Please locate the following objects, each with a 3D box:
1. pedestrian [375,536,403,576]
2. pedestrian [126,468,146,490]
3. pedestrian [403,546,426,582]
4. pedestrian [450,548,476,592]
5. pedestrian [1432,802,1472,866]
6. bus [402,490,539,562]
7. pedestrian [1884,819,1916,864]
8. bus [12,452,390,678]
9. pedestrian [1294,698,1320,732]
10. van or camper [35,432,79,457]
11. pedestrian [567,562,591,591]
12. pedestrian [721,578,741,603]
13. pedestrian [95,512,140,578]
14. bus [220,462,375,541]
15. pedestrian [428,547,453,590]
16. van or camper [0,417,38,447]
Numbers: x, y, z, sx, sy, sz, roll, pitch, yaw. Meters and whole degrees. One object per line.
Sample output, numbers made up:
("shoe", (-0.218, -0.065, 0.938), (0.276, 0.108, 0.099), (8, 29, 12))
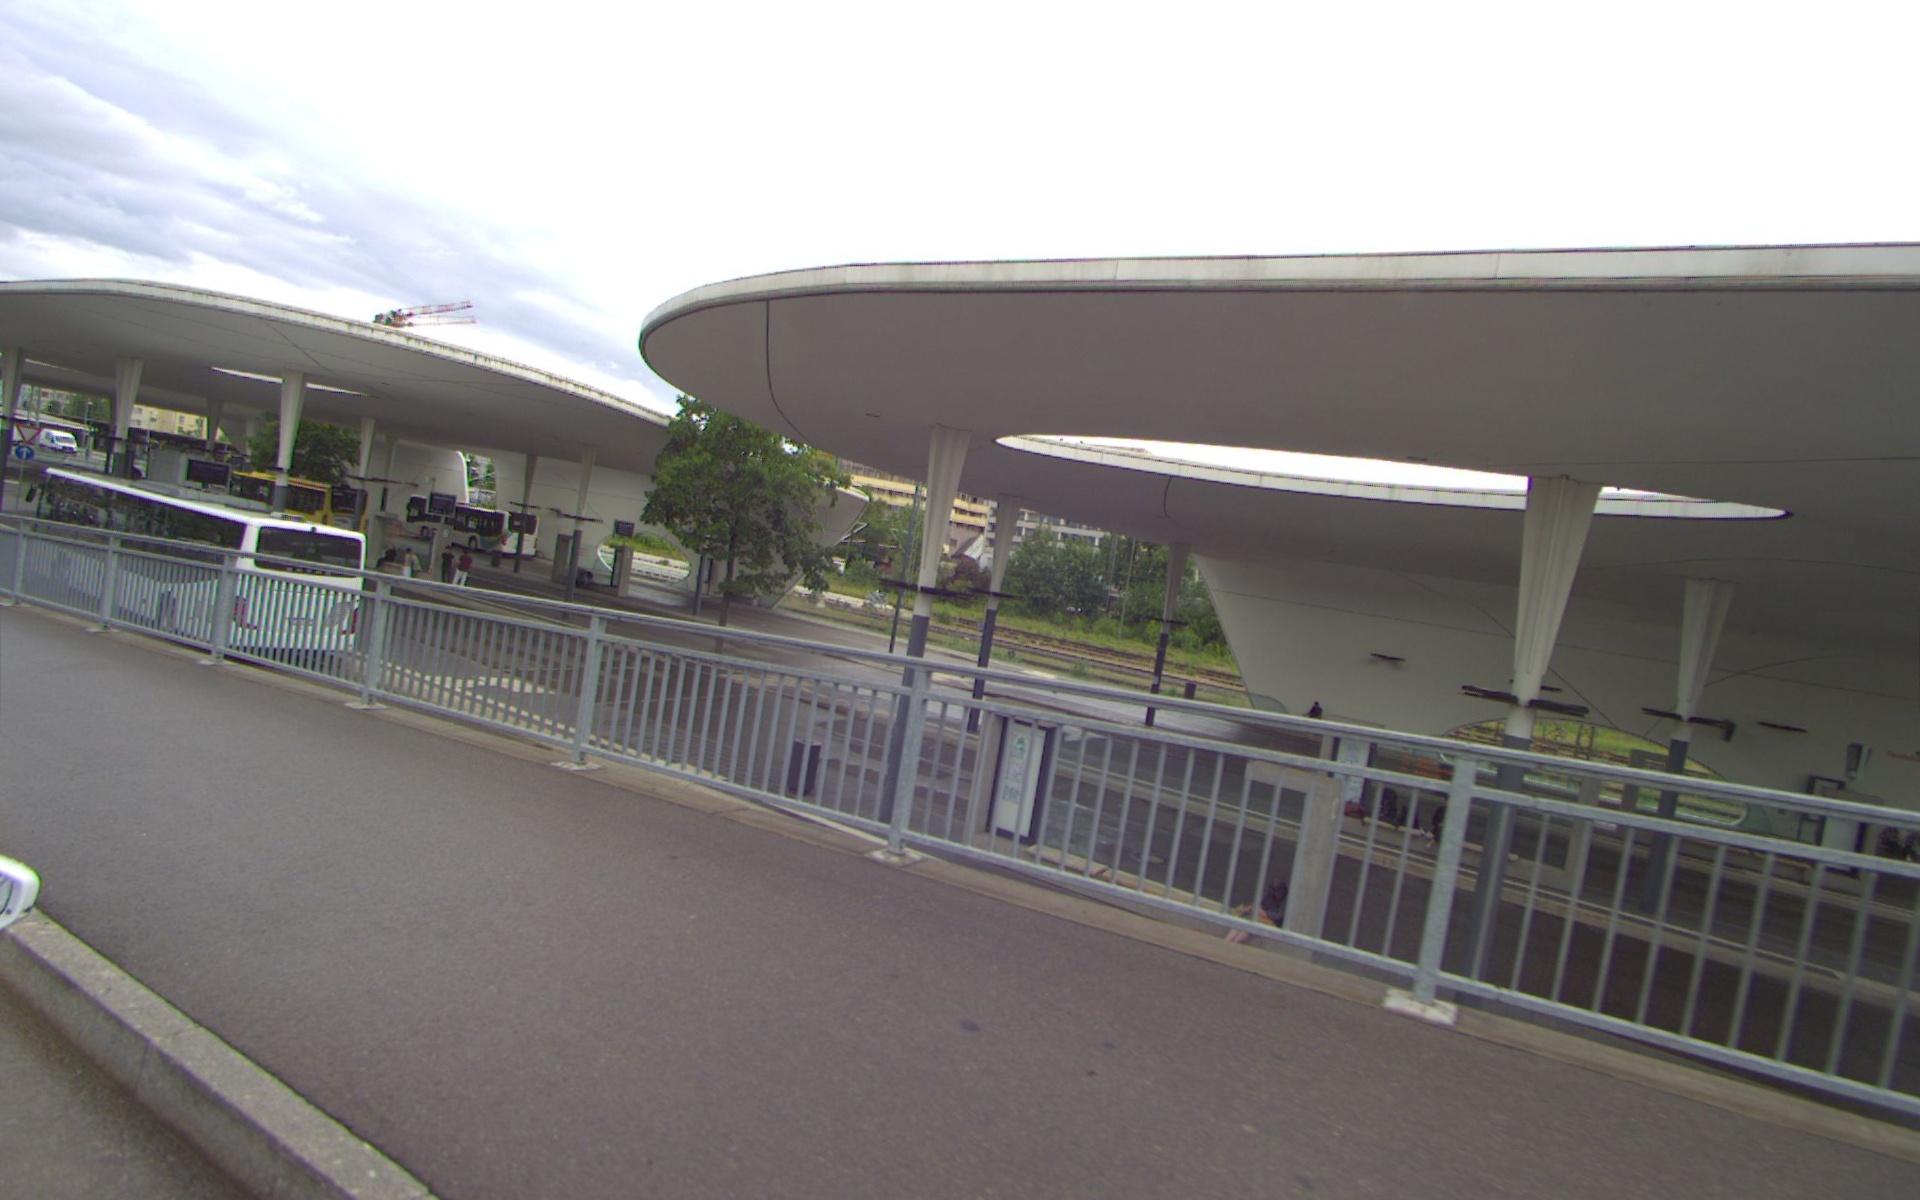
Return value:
("pedestrian", (-24.923, -1.924, 43.911), (0.666, 1.608, 0.590), (7, -1, 27))
("pedestrian", (-66.625, -9.778, 81.348), (0.892, 1.606, 0.796), (9, 1, 25))
("pedestrian", (-22.977, -1.518, 42.348), (0.548, 1.412, 0.568), (11, 5, 37))
("pedestrian", (-20.049, -1.209, 40.611), (0.629, 1.677, 0.641), (7, 4, -9))
("pedestrian", (10.597, 5.027, 21.660), (0.658, 1.177, 0.536), (7, -2, 28))
("bus", (-34.014, -5.209, 69.633), (11.769, 3.302, 2.466), (11, 5, 31))
("pedestrian", (30.867, 7.930, 33.053), (0.576, 1.285, 0.568), (6, -2, 34))
("bus", (-19.083, -1.083, 24.803), (12.216, 3.401, 2.851), (11, 1, 31))
("pedestrian", (14.863, 4.922, 43.049), (0.700, 1.340, 0.799), (6, -2, 36))
("van or camper", (-100.267, -17.315, 111.668), (5.388, 2.128, 1.997), (8, 0, 31))
("pedestrian", (-19.518, -1.204, 51.570), (0.790, 1.340, 0.709), (6, -2, 39))
("pedestrian", (-13.898, -0.576, 61.032), (0.789, 1.340, 0.710), (6, -2, 35))
("pedestrian", (-25.897, -1.692, 30.927), (0.638, 1.910, 0.585), (10, 3, -4))
("bus", (-41.165, -6.169, 62.268), (11.933, 3.300, 2.791), (10, 3, 30))
("pedestrian", (-21.450, -1.294, 41.542), (0.548, 1.677, 0.568), (11, 5, 37))
("van or camper", (-106.754, -18.957, 112.602), (2.083, 2.588, 4.617), (8, -1, 30))
